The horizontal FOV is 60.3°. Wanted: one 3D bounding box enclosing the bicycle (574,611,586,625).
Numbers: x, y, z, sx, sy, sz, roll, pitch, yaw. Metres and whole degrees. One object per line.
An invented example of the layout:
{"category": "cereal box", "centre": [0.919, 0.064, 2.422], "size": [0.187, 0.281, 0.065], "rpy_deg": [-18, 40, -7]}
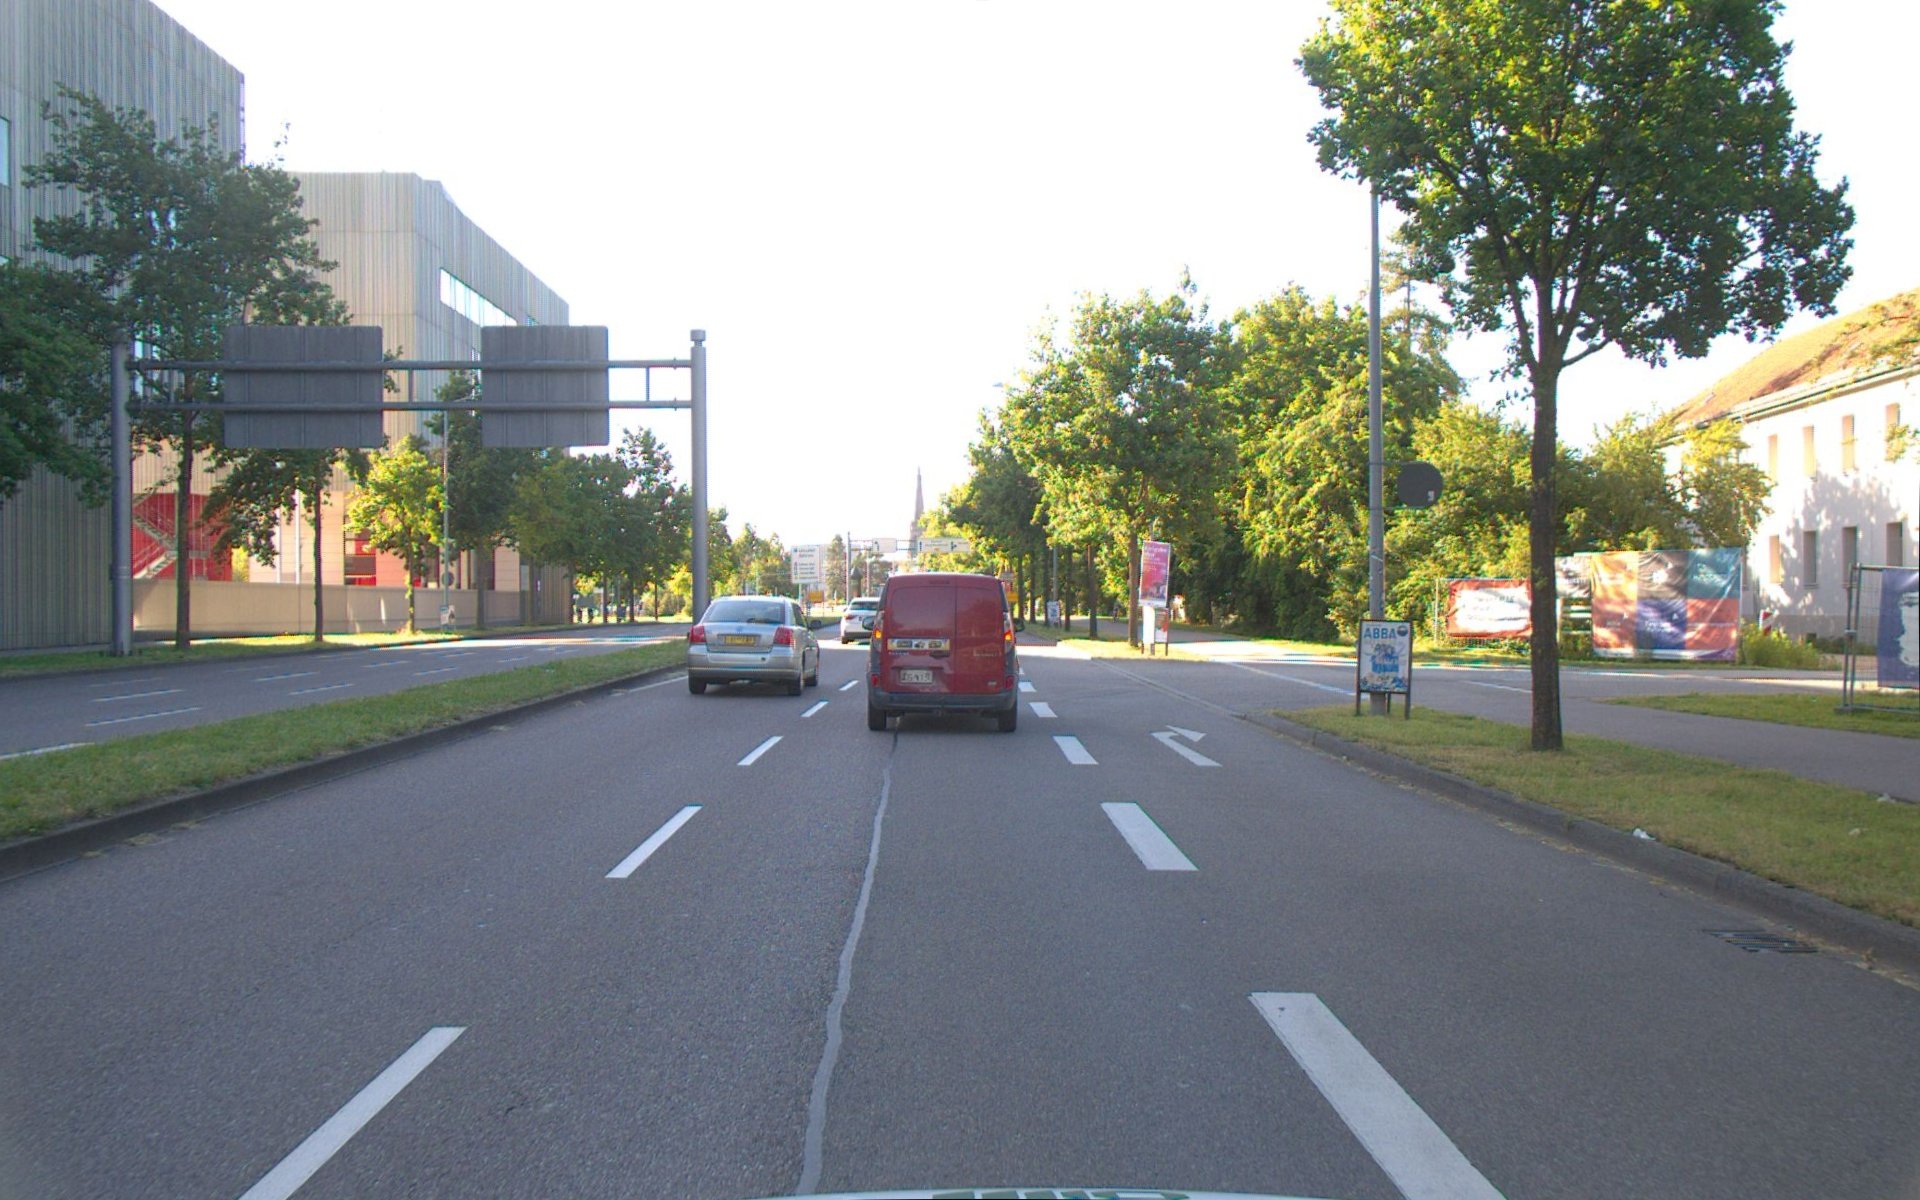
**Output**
{"category": "bicycle", "centre": [-27.793, 1.315, 121.141], "size": [0.477, 1.021, 2.095], "rpy_deg": [0, -1, -2]}

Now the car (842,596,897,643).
{"category": "car", "centre": [-2.822, 0.602, 52.159], "size": [1.628, 1.422, 3.557], "rpy_deg": [0, 0, -2]}

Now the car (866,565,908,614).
{"category": "car", "centre": [-2.878, -0.416, 65.934], "size": [1.628, 1.889, 3.557], "rpy_deg": [0, 0, -2]}

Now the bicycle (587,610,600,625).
{"category": "bicycle", "centre": [-26.843, 1.282, 121.038], "size": [0.558, 1.021, 2.095], "rpy_deg": [0, -1, -2]}

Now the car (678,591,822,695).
{"category": "car", "centre": [-3.223, 0.632, 26.119], "size": [1.803, 1.482, 4.161], "rpy_deg": [1, 0, -1]}

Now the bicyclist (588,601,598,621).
{"category": "bicyclist", "centre": [-26.850, 0.820, 121.056], "size": [0.551, 1.417, 0.747], "rpy_deg": [0, -1, -3]}

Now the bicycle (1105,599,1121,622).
{"category": "bicycle", "centre": [7.841, 0.538, 84.750], "size": [0.757, 1.151, 1.710], "rpy_deg": [0, 0, 6]}

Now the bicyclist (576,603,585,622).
{"category": "bicyclist", "centre": [-27.802, 0.906, 121.236], "size": [0.472, 1.419, 0.844], "rpy_deg": [0, -1, -3]}

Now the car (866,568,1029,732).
{"category": "car", "centre": [-0.194, 0.556, 20.243], "size": [1.770, 1.790, 4.004], "rpy_deg": [1, 0, -2]}
